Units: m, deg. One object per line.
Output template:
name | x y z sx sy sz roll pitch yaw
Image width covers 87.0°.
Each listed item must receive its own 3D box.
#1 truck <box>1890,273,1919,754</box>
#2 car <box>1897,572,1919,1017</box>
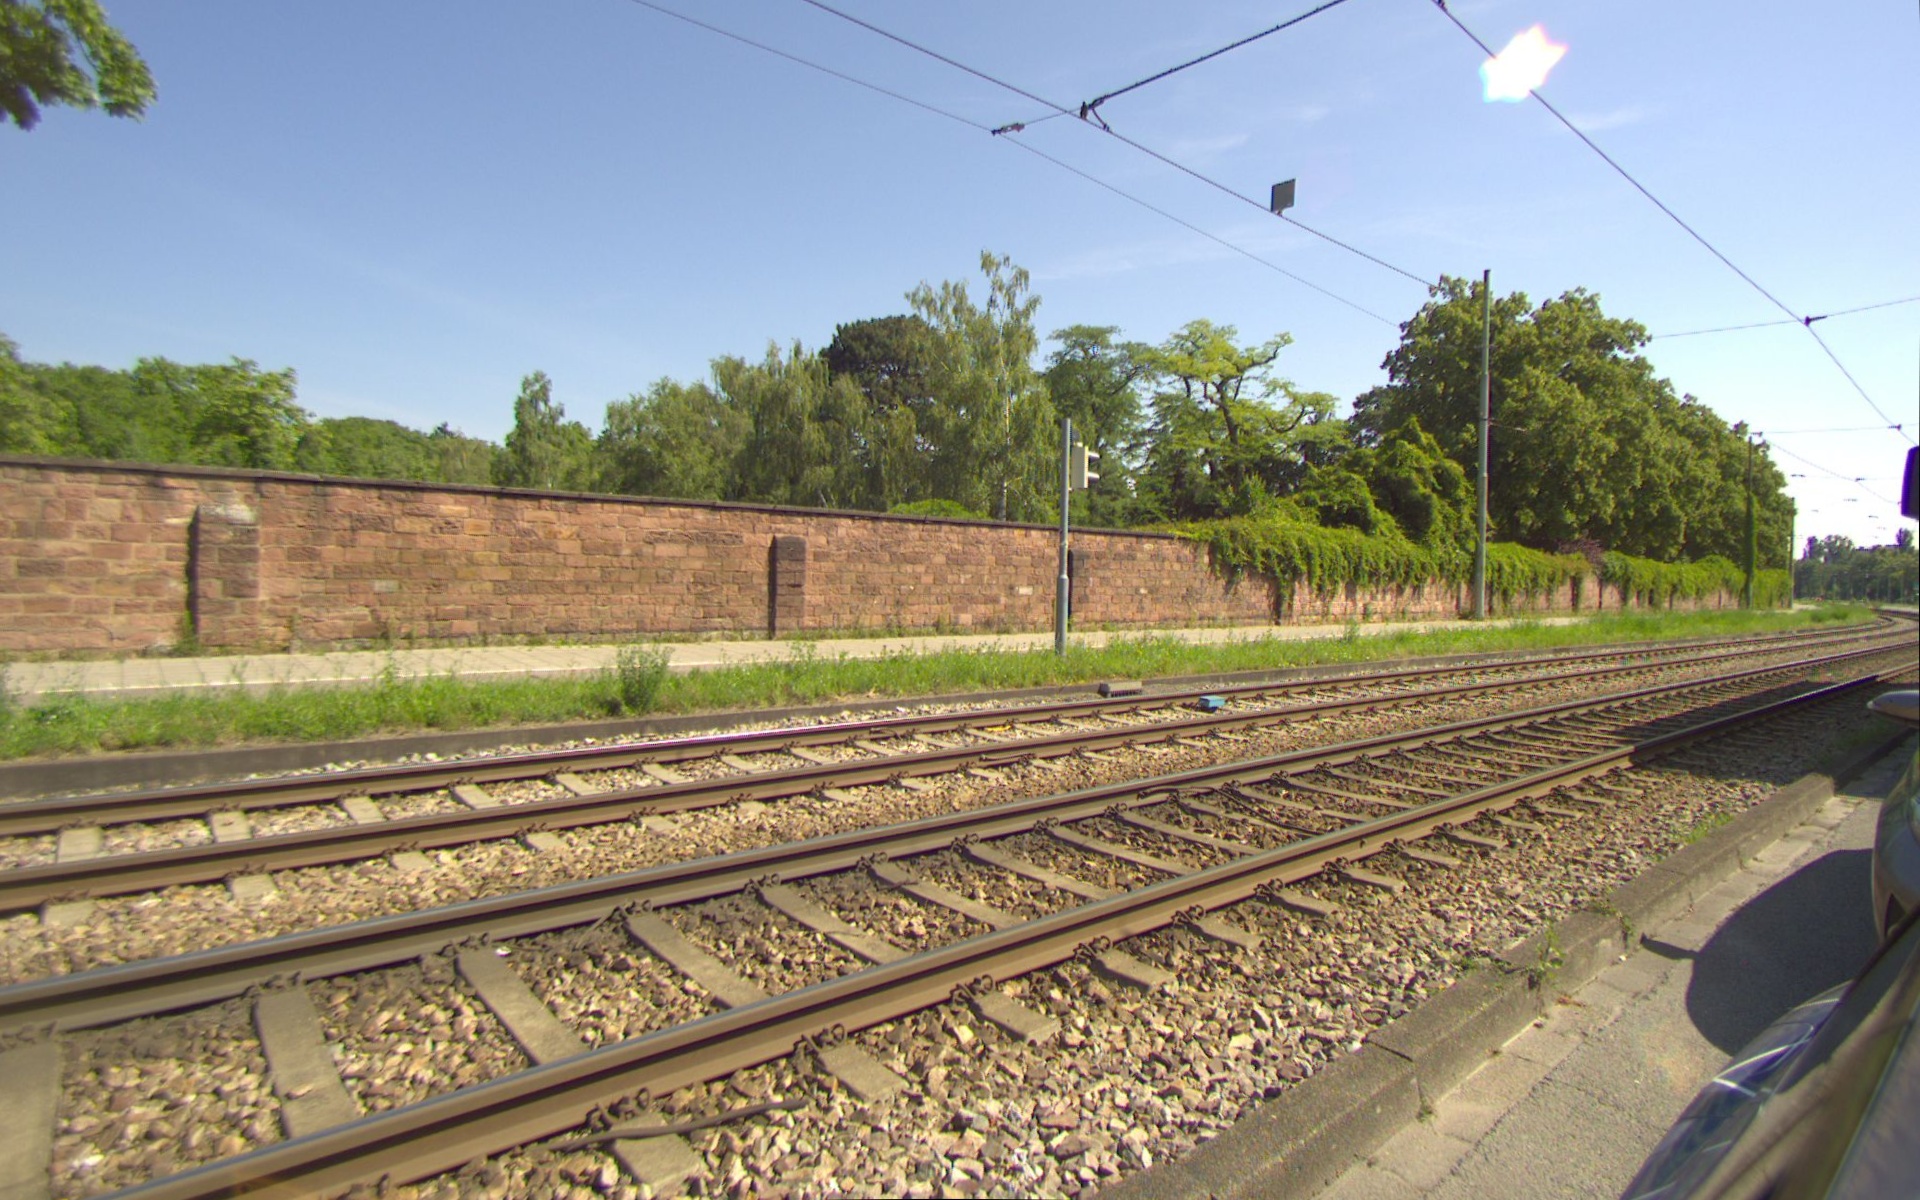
truck | 14.231 -0.656 12.034 14.652 3.927 2.934 0 2 -41
car | 5.100 0.664 4.014 3.930 1.448 1.573 0 2 -41
